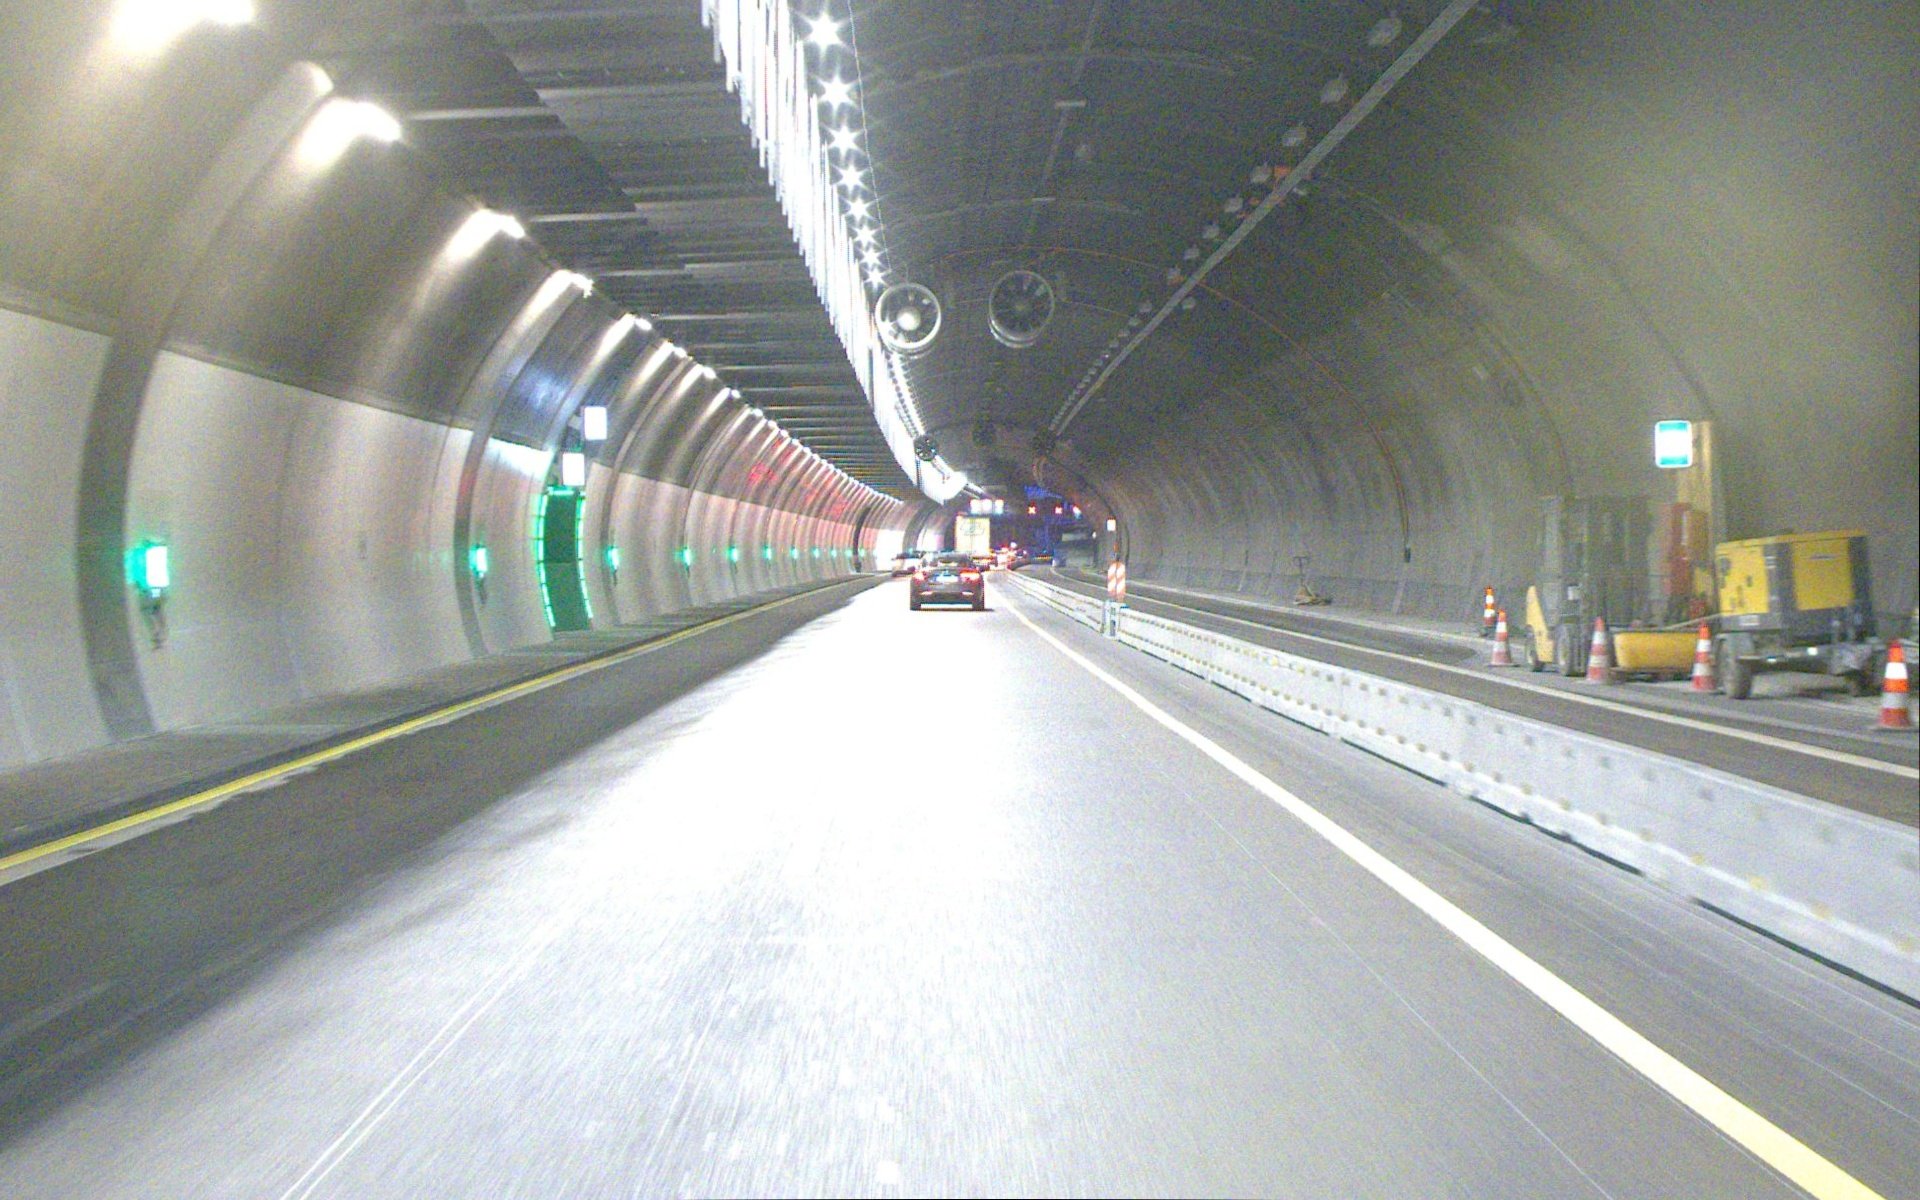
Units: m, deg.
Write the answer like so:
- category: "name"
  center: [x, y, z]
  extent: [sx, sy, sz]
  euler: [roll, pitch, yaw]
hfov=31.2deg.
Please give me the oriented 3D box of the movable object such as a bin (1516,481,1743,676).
- category: "movable object such as a bin"
  center: [7.781, -0.259, 40.330]
  extent: [1.683, 2.138, 4.628]
  euler: [0, 0, -1]

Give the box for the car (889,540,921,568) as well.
- category: "car"
  center: [-3.171, -2.641, 198.748]
  extent: [1.827, 1.601, 4.000]
  euler: [0, 1, -1]

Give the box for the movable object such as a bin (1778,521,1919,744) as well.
- category: "movable object such as a bin"
  center: [8.358, 0.195, 28.647]
  extent: [1.860, 1.669, 4.502]
  euler: [-4, 1, -1]

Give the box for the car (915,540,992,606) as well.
- category: "car"
  center: [-0.198, -0.686, 86.739]
  extent: [1.887, 1.601, 4.000]
  euler: [0, 1, -1]

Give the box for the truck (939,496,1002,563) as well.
- category: "truck"
  center: [0.843, -5.302, 261.423]
  extent: [4.546, 4.970, 9.598]
  euler: [0, 0, 2]

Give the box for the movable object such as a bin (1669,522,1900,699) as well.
- category: "movable object such as a bin"
  center: [8.315, 0.089, 34.880]
  extent: [1.556, 1.703, 3.055]
  euler: [0, 0, -1]
